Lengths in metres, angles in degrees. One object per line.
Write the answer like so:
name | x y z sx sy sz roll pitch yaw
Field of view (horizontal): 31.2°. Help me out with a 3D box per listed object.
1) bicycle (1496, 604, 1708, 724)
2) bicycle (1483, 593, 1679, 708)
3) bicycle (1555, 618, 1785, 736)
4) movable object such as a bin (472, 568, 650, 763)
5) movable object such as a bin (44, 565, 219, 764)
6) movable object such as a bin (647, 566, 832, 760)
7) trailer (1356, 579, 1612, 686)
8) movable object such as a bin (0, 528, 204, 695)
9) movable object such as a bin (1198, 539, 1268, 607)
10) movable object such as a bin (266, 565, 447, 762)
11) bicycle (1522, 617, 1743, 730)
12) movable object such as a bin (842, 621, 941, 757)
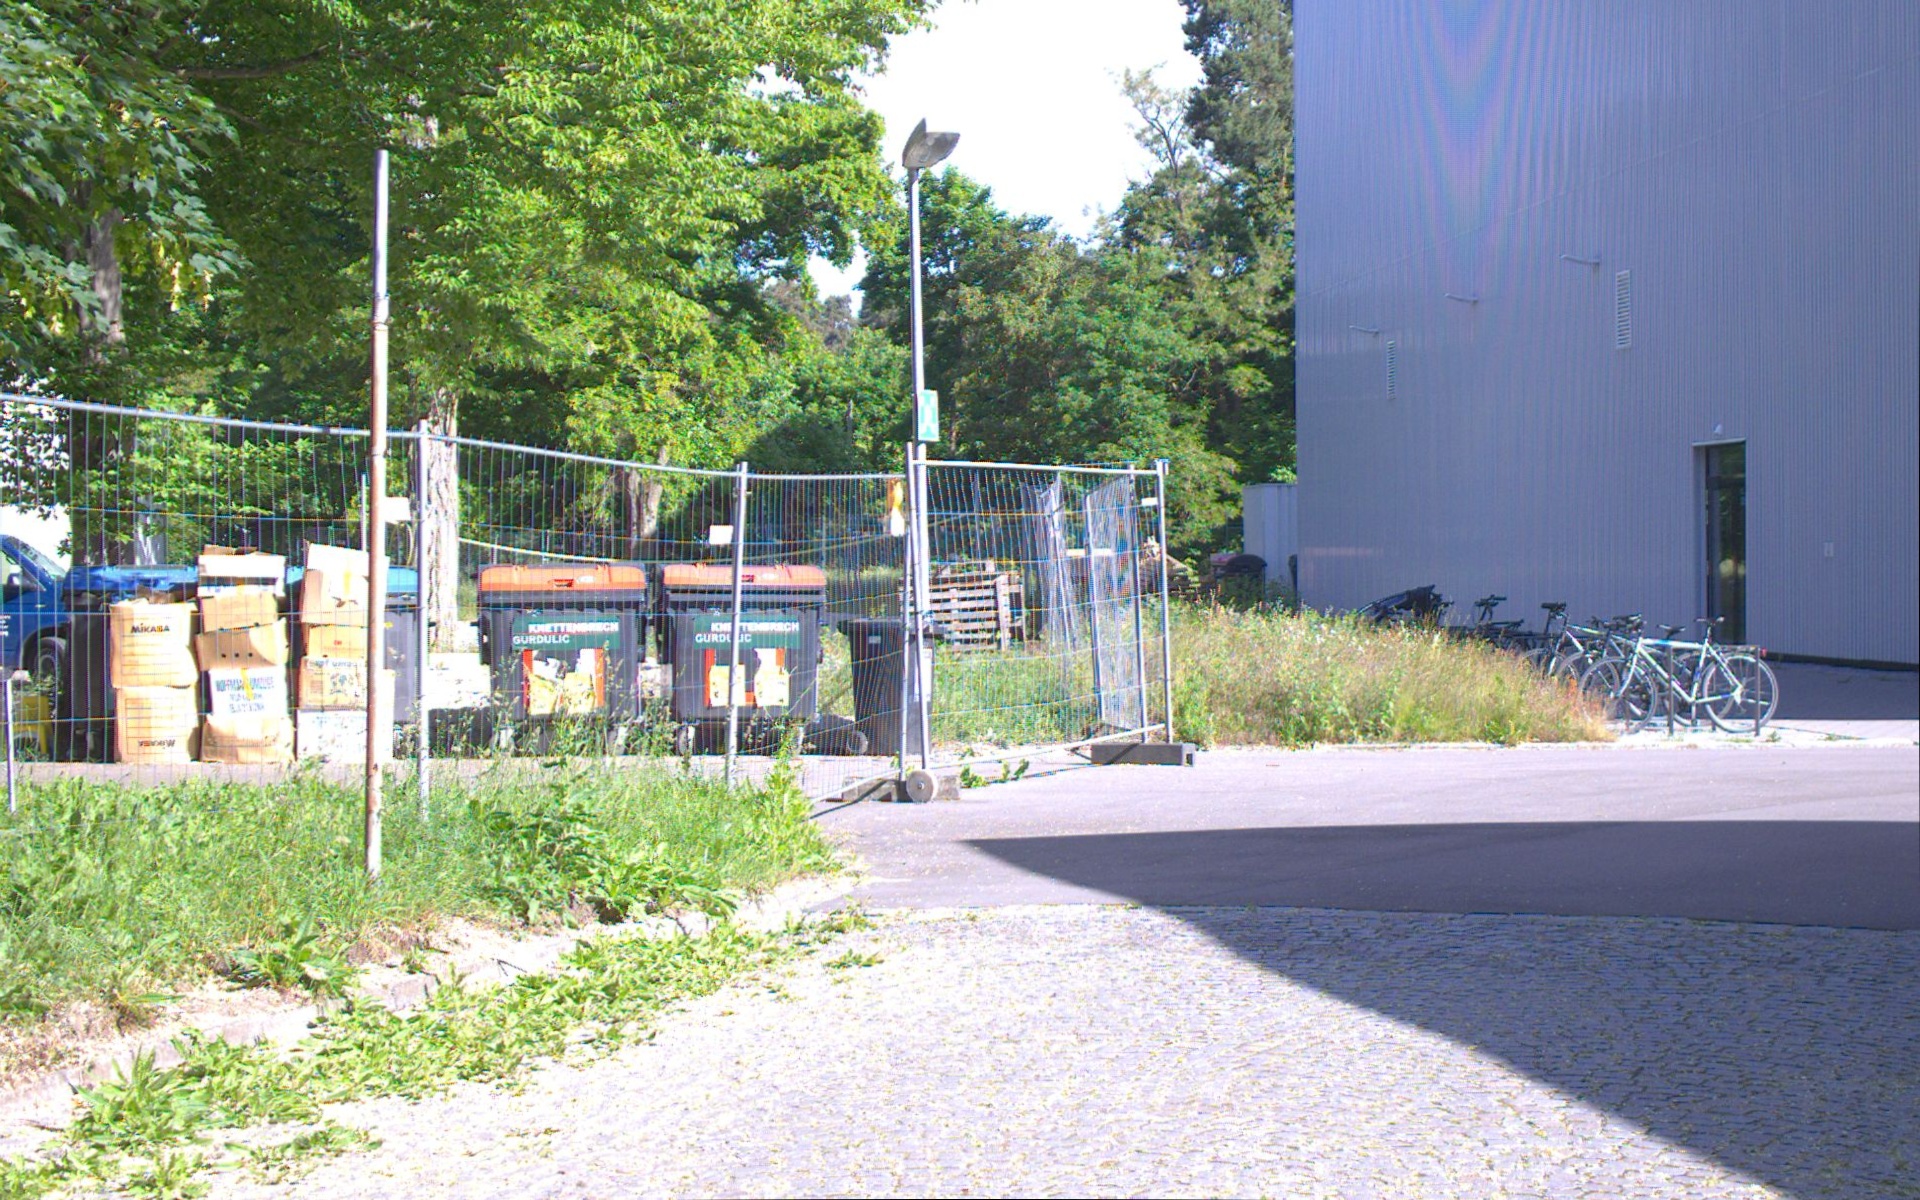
bicycle | 5.958 0.589 31.913 1.883 1.078 0.433 -1 0 -6
bicycle | 6.213 0.500 34.412 1.883 1.122 0.433 -1 0 -6
bicycle | 6.072 0.653 29.423 1.883 0.974 0.433 -1 0 -6
movable object such as a bin | -3.010 0.476 25.842 1.287 1.421 1.033 -1 0 -8
movable object such as a bin | -6.126 0.461 25.482 1.084 1.433 1.056 -1 0 -4
movable object such as a bin | -1.678 0.462 26.041 1.287 1.421 1.033 -1 0 -9
trailer | 6.094 0.365 40.122 2.710 1.195 1.246 -1 0 -6
movable object such as a bin | -11.783 0.140 41.888 4.870 1.963 1.933 -1 0 -8
movable object such as a bin | 6.833 -0.680 86.317 1.363 1.650 2.842 -1 0 -3
movable object such as a bin | -4.495 0.458 25.697 1.287 1.421 1.033 -1 0 -8
bicycle | 5.982 0.650 30.611 1.883 0.974 0.433 -1 0 -6
movable object such as a bin | -0.513 0.669 25.957 0.641 1.004 0.604 0 0 10
